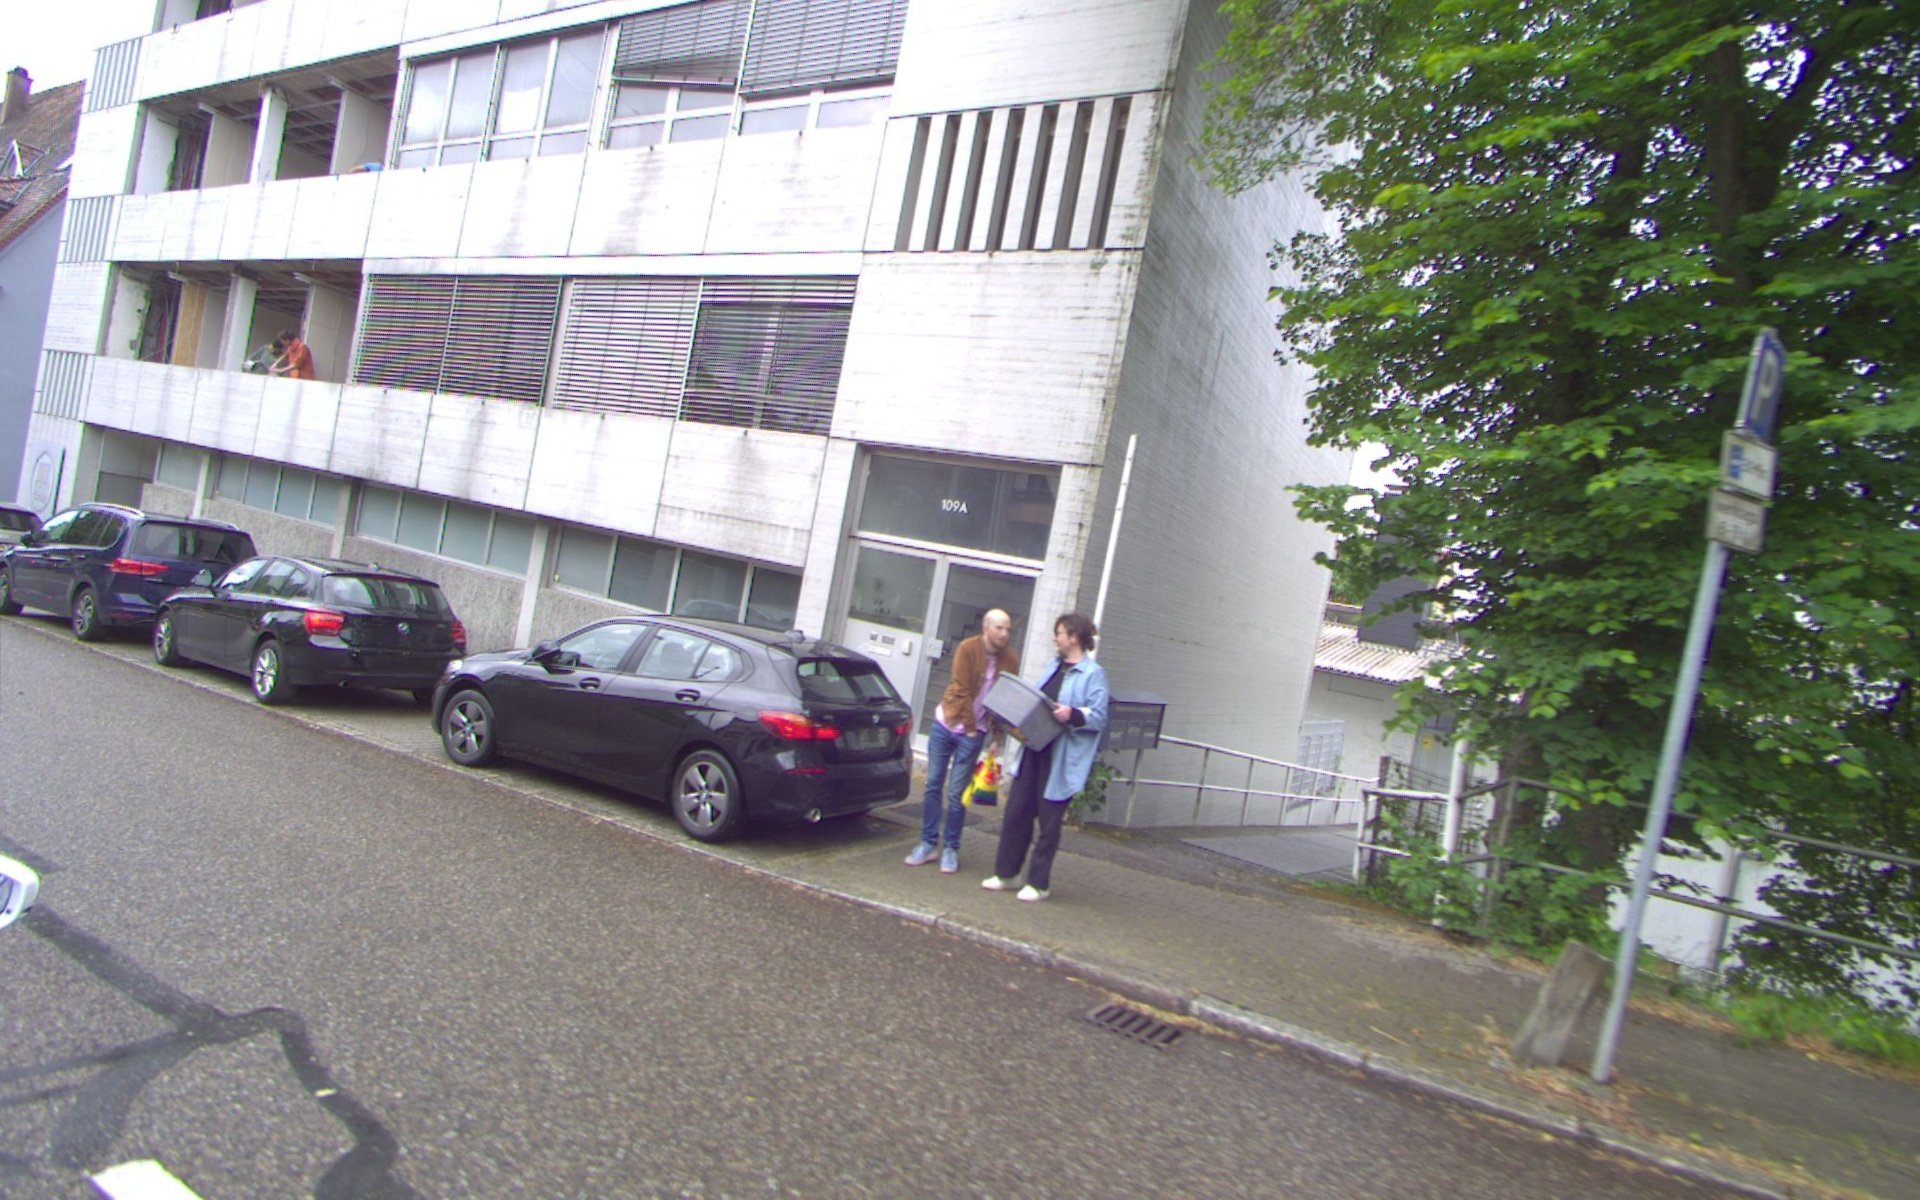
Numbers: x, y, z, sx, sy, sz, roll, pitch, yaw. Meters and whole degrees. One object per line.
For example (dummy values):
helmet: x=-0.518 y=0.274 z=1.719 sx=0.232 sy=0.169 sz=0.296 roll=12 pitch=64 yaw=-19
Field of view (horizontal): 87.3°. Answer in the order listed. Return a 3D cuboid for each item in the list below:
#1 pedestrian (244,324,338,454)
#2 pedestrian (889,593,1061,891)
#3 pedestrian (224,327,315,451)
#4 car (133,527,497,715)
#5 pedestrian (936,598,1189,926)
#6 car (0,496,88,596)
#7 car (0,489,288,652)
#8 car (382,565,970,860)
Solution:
pedestrian: x=-11.883 y=-3.720 z=17.870 sx=0.846 sy=2.037 sz=0.909 roll=6 pitch=-1 yaw=31
pedestrian: x=0.145 y=0.940 z=6.990 sx=0.809 sy=1.802 sz=1.075 roll=8 pitch=-2 yaw=10
pedestrian: x=-12.733 y=-3.859 z=18.564 sx=0.846 sy=2.037 sz=0.909 roll=6 pitch=-1 yaw=31
car: x=-7.104 y=0.181 z=10.951 sx=4.183 sy=1.466 sz=1.750 roll=7 pitch=-1 yaw=34
pedestrian: x=0.632 y=0.973 z=6.213 sx=1.064 sy=1.801 sz=0.817 roll=10 pitch=-3 yaw=-34
car: x=-17.250 y=-1.131 z=17.302 sx=4.449 sy=1.465 sz=1.966 roll=7 pitch=-1 yaw=30
car: x=-10.975 y=-0.413 z=13.286 sx=4.090 sy=1.618 sz=1.732 roll=7 pitch=-1 yaw=30
car: x=-2.376 y=0.761 z=8.197 sx=4.367 sy=1.451 sz=1.998 roll=7 pitch=-2 yaw=30
